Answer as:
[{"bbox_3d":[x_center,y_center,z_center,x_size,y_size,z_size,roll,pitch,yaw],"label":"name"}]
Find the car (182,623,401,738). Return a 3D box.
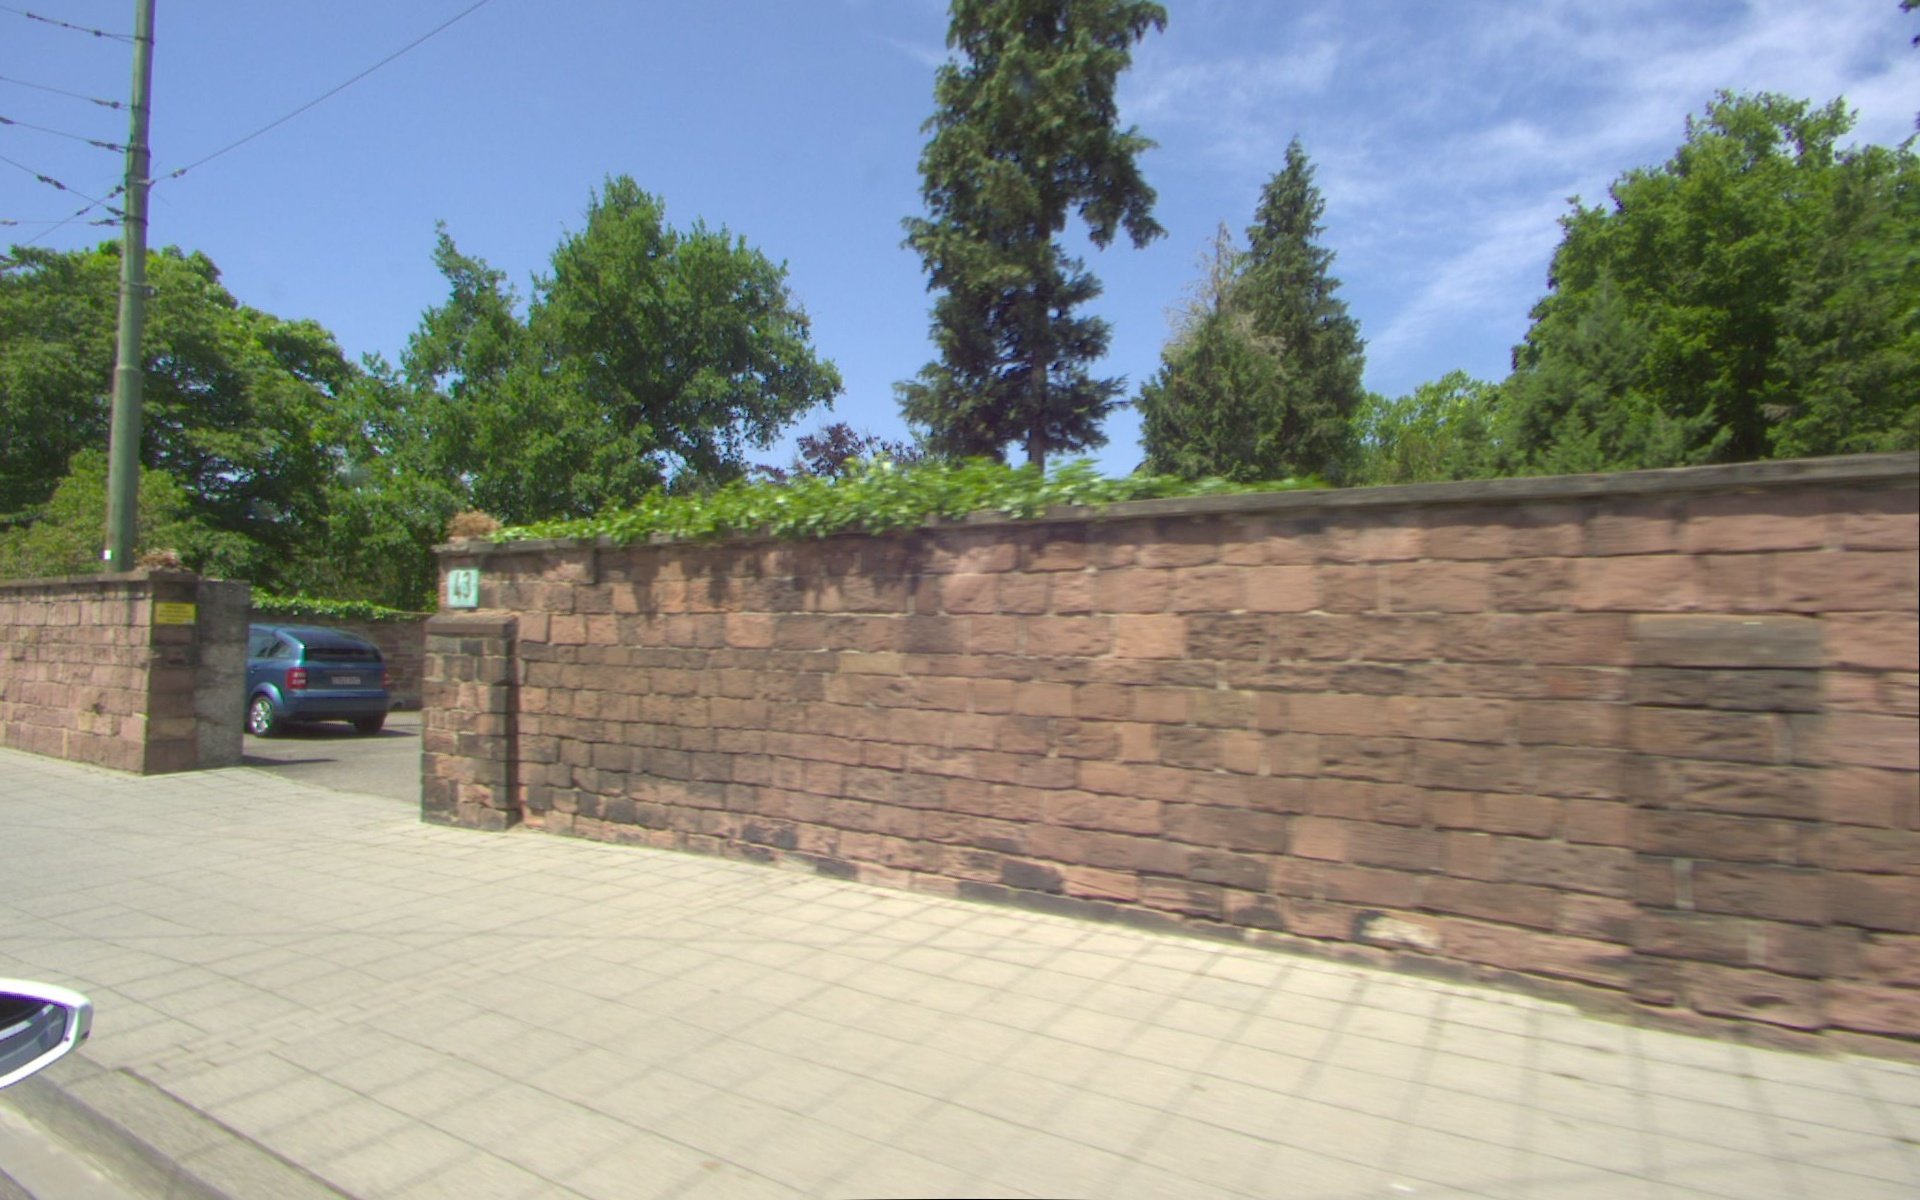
[{"bbox_3d":[-9.760,1.136,14.612,2.901,1.500,1.480,0,-3,30],"label":"car"}]
